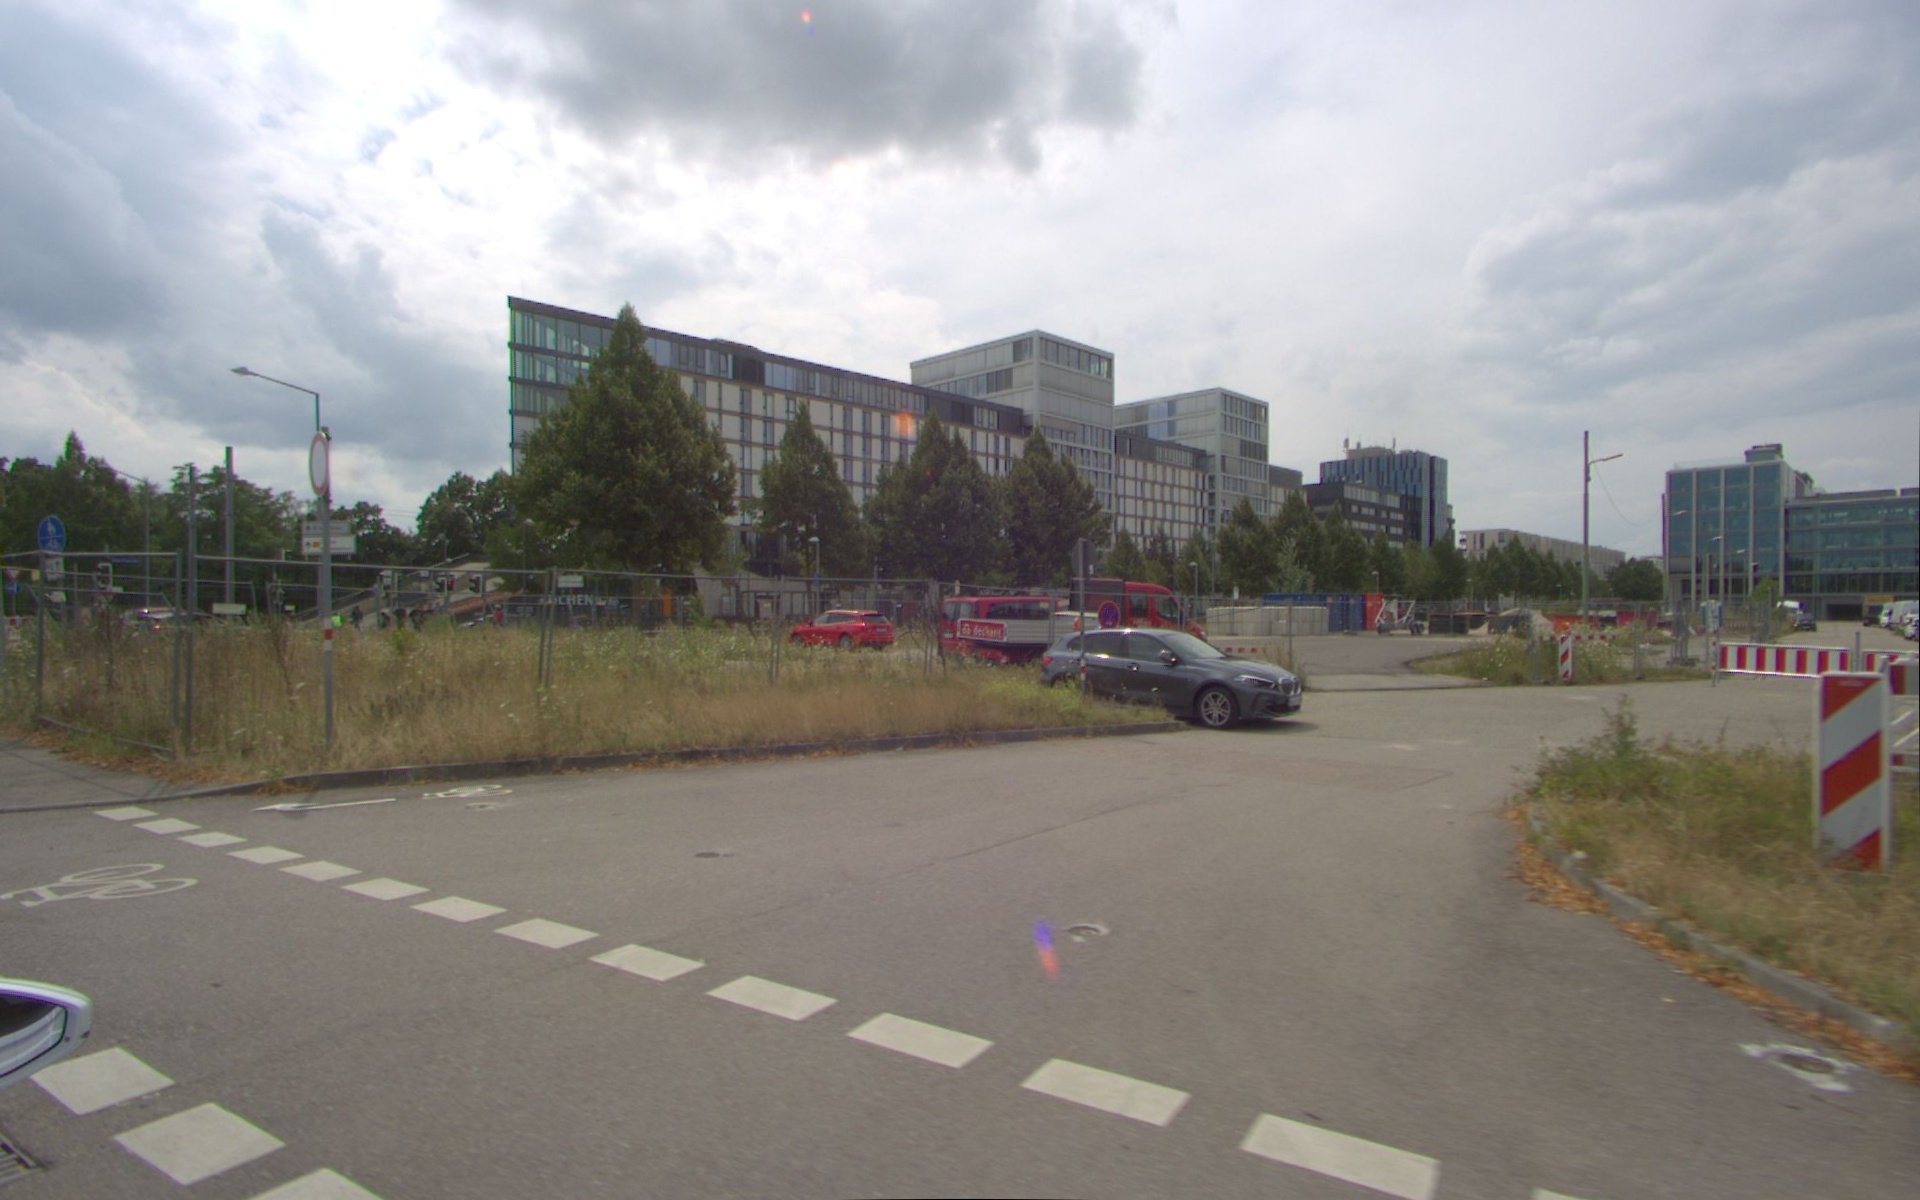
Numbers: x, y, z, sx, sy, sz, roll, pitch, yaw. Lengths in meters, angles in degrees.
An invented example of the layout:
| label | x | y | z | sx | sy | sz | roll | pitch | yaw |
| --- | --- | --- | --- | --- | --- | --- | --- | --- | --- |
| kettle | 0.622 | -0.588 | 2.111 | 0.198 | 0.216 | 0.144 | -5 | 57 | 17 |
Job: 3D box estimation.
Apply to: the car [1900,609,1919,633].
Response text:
| label | x | y | z | sx | sy | sz | roll | pitch | yaw |
| --- | --- | --- | --- | --- | --- | --- | --- | --- | --- |
| car | 70.453 | 1.518 | 73.657 | 1.807 | 1.706 | 3.811 | 0 | -1 | 41 |

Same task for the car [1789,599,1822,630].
| label | x | y | z | sx | sy | sz | roll | pitch | yaw |
| --- | --- | --- | --- | --- | --- | --- | --- | --- | --- |
| car | 90.488 | 1.545 | 107.137 | 2.584 | 3.123 | 5.818 | -3 | -1 | 41 |

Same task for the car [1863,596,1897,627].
| label | x | y | z | sx | sy | sz | roll | pitch | yaw |
| --- | --- | --- | --- | --- | --- | --- | --- | --- | --- |
| car | 105.922 | 1.272 | 115.356 | 2.584 | 3.344 | 5.818 | -3 | -1 | 41 |

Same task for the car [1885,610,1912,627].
| label | x | y | z | sx | sy | sz | roll | pitch | yaw |
| --- | --- | --- | --- | --- | --- | --- | --- | --- | --- |
| car | 94.739 | 1.836 | 101.089 | 1.807 | 1.706 | 3.811 | 0 | -1 | 41 |

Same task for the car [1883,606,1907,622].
| label | x | y | z | sx | sy | sz | roll | pitch | yaw |
| --- | --- | --- | --- | --- | --- | --- | --- | --- | --- |
| car | 101.532 | 1.484 | 108.781 | 1.807 | 1.706 | 3.811 | 0 | -1 | 41 |

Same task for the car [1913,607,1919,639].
| label | x | y | z | sx | sy | sz | roll | pitch | yaw |
| --- | --- | --- | --- | --- | --- | --- | --- | --- | --- |
| car | 53.908 | 1.237 | 55.199 | 1.808 | 1.705 | 3.810 | -3 | -1 | 41 |

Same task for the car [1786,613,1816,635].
| label | x | y | z | sx | sy | sz | roll | pitch | yaw |
| --- | --- | --- | --- | --- | --- | --- | --- | --- | --- |
| car | 70.573 | 1.968 | 83.968 | 1.808 | 1.705 | 3.810 | -3 | -1 | 41 |

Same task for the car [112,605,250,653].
| label | x | y | z | sx | sy | sz | roll | pitch | yaw |
| --- | --- | --- | --- | --- | --- | --- | --- | --- | --- |
| car | -30.798 | 1.103 | 39.750 | 1.856 | 1.684 | 3.994 | 0 | 1 | 15 |

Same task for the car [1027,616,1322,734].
| label | x | y | z | sx | sy | sz | roll | pitch | yaw |
| --- | --- | --- | --- | --- | --- | --- | --- | --- | --- |
| car | 3.350 | 1.085 | 16.066 | 4.282 | 1.517 | 1.843 | 1 | 2 | 39 |

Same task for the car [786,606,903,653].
| label | x | y | z | sx | sy | sz | roll | pitch | yaw |
| --- | --- | --- | --- | --- | --- | --- | --- | --- | --- |
| car | -4.257 | 1.037 | 36.433 | 4.390 | 1.583 | 1.779 | 0 | -1 | 41 |

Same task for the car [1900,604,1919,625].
| label | x | y | z | sx | sy | sz | roll | pitch | yaw |
| --- | --- | --- | --- | --- | --- | --- | --- | --- | --- |
| car | 82.663 | 1.249 | 86.611 | 1.808 | 1.705 | 3.810 | -3 | -1 | 41 |

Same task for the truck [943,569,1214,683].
| label | x | y | z | sx | sy | sz | roll | pitch | yaw |
| --- | --- | --- | --- | --- | --- | --- | --- | --- | --- |
| truck | 3.013 | 0.623 | 24.615 | 6.596 | 2.458 | 2.517 | 1 | 0 | -34 |
